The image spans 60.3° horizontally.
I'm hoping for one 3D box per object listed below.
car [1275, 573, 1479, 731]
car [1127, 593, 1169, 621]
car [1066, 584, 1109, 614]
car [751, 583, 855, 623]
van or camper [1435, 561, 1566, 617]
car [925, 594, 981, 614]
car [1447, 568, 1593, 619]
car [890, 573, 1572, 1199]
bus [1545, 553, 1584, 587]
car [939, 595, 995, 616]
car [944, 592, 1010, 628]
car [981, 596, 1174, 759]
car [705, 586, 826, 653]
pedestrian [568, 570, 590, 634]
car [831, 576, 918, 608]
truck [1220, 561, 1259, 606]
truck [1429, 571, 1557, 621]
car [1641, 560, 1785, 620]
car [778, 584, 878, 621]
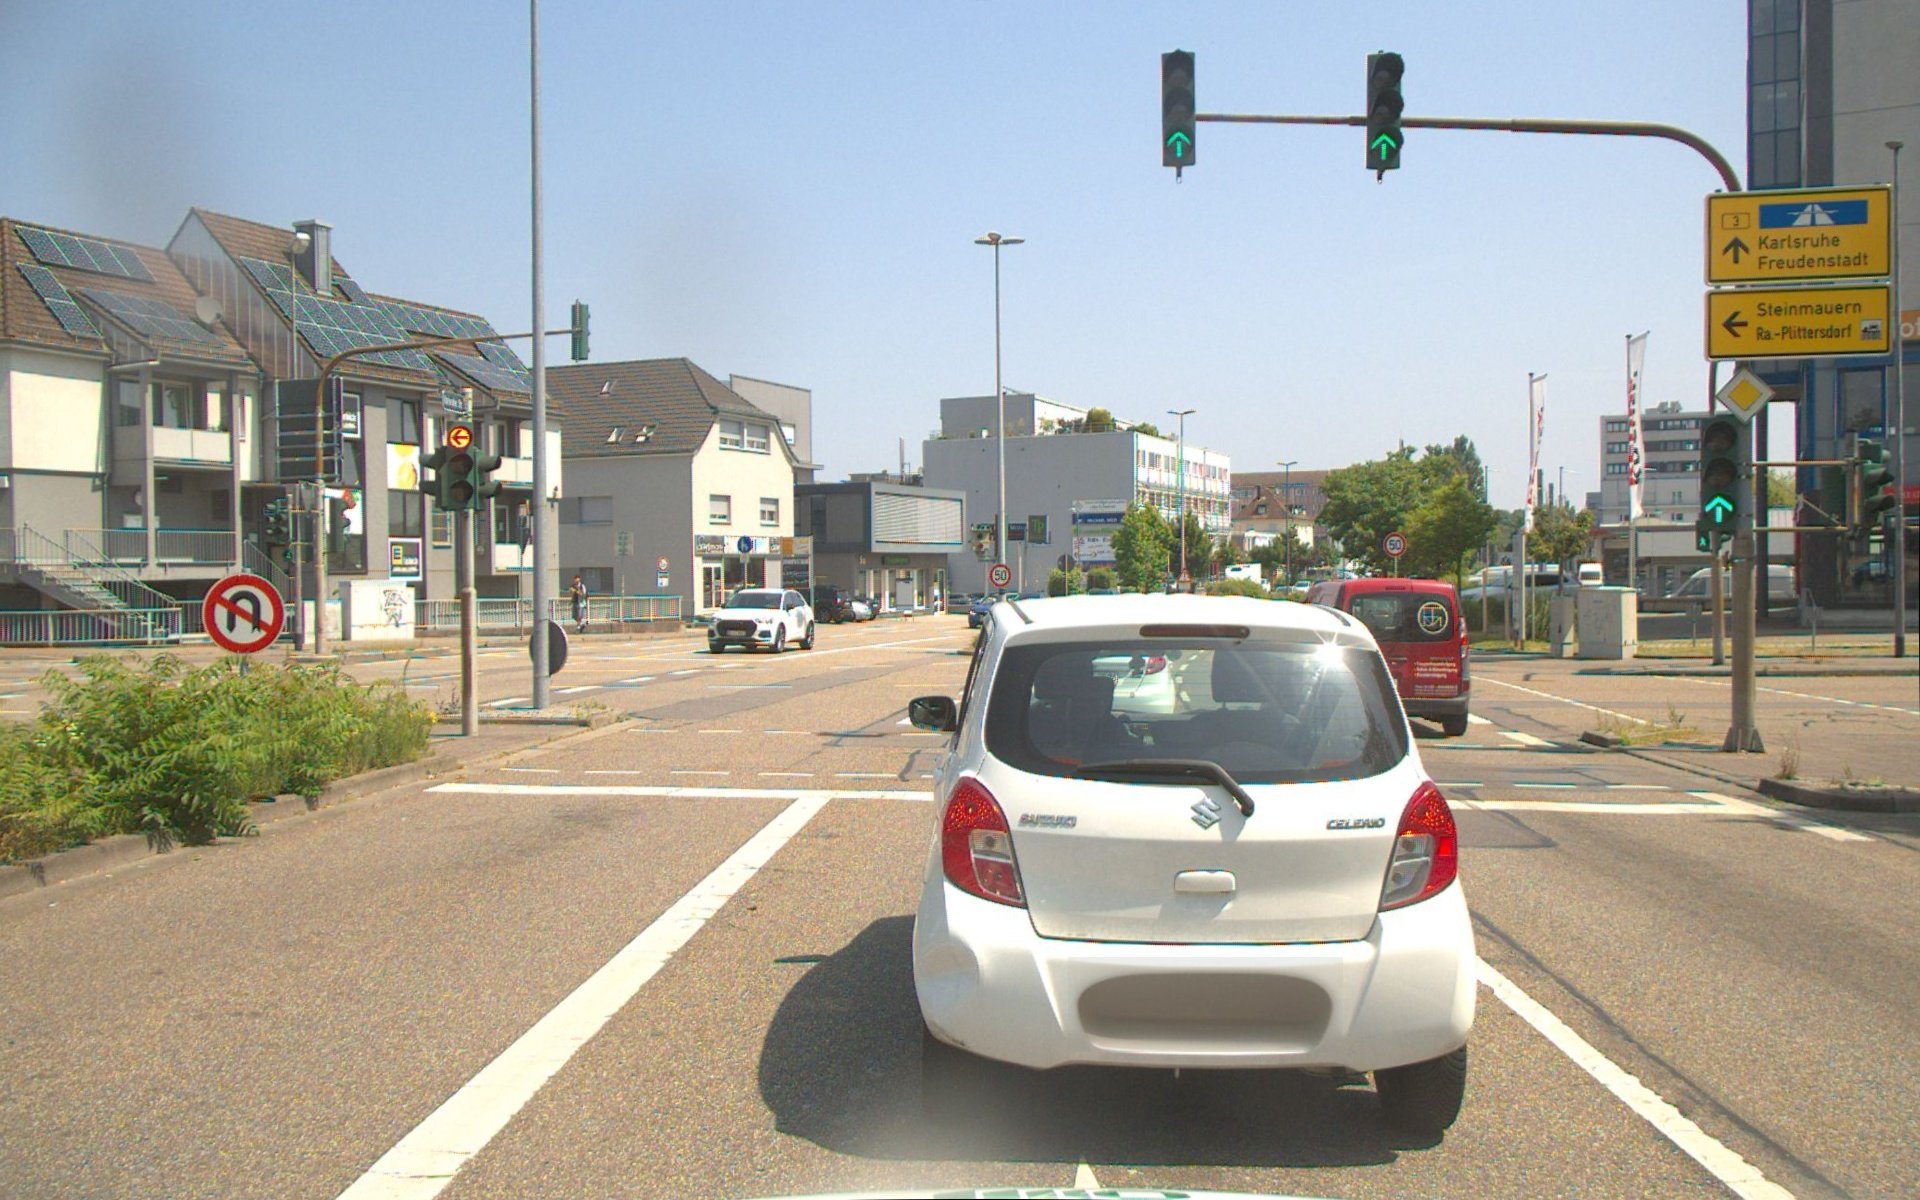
[{"bbox_3d":[5.068,0.569,20.605,1.757,1.759,3.975,1,0,4],"label":"car"},{"bbox_3d":[10.333,0.344,90.572,1.823,1.456,4.749,1,0,12],"label":"car"},{"bbox_3d":[7.539,-0.075,97.160,1.951,1.685,4.598,-1,1,12],"label":"car"},{"bbox_3d":[-7.429,0.126,78.329,4.512,1.655,1.854,3,2,21],"label":"car"},{"bbox_3d":[29.620,-0.601,90.646,6.657,2.948,2.276,-1,1,21],"label":"van or camper"},{"bbox_3d":[-0.540,0.296,127.622,3.887,1.493,1.965,-1,1,17],"label":"car"},{"bbox_3d":[20.294,-0.215,60.033,4.631,1.743,1.998,1,0,-4],"label":"car"},{"bbox_3d":[0.707,0.722,5.748,1.677,1.537,3.247,1,0,1],"label":"car"},{"bbox_3d":[61.283,-3.067,167.490,2.749,3.132,12.278,0,2,25],"label":"bus"},{"bbox_3d":[0.569,0.437,130.798,3.892,1.493,2.074,-3,0,20],"label":"car"},{"bbox_3d":[0.739,0.403,68.720,1.823,1.390,4.350,1,0,13],"label":"car"},{"bbox_3d":[1.328,0.717,17.494,1.791,1.475,4.003,1,0,7],"label":"car"},{"bbox_3d":[-4.949,0.460,42.687,1.778,1.597,4.560,1,0,11],"label":"car"},{"bbox_3d":[-12.241,0.052,53.147,0.492,2.048,0.743,1,1,5],"label":"pedestrian"},{"bbox_3d":[-4.355,-0.385,84.134,3.971,1.548,2.001,-1,0,19],"label":"car"},{"bbox_3d":[22.785,-1.296,134.488,2.217,3.477,7.043,1,0,17],"label":"truck"},{"bbox_3d":[27.852,-0.203,86.460,6.119,2.377,2.368,-2,1,23],"label":"truck"},{"bbox_3d":[33.726,-0.444,74.186,5.768,2.572,2.118,1,0,25],"label":"car"},{"bbox_3d":[-6.509,0.116,81.573,4.508,1.522,1.754,4,2,14],"label":"car"}]
